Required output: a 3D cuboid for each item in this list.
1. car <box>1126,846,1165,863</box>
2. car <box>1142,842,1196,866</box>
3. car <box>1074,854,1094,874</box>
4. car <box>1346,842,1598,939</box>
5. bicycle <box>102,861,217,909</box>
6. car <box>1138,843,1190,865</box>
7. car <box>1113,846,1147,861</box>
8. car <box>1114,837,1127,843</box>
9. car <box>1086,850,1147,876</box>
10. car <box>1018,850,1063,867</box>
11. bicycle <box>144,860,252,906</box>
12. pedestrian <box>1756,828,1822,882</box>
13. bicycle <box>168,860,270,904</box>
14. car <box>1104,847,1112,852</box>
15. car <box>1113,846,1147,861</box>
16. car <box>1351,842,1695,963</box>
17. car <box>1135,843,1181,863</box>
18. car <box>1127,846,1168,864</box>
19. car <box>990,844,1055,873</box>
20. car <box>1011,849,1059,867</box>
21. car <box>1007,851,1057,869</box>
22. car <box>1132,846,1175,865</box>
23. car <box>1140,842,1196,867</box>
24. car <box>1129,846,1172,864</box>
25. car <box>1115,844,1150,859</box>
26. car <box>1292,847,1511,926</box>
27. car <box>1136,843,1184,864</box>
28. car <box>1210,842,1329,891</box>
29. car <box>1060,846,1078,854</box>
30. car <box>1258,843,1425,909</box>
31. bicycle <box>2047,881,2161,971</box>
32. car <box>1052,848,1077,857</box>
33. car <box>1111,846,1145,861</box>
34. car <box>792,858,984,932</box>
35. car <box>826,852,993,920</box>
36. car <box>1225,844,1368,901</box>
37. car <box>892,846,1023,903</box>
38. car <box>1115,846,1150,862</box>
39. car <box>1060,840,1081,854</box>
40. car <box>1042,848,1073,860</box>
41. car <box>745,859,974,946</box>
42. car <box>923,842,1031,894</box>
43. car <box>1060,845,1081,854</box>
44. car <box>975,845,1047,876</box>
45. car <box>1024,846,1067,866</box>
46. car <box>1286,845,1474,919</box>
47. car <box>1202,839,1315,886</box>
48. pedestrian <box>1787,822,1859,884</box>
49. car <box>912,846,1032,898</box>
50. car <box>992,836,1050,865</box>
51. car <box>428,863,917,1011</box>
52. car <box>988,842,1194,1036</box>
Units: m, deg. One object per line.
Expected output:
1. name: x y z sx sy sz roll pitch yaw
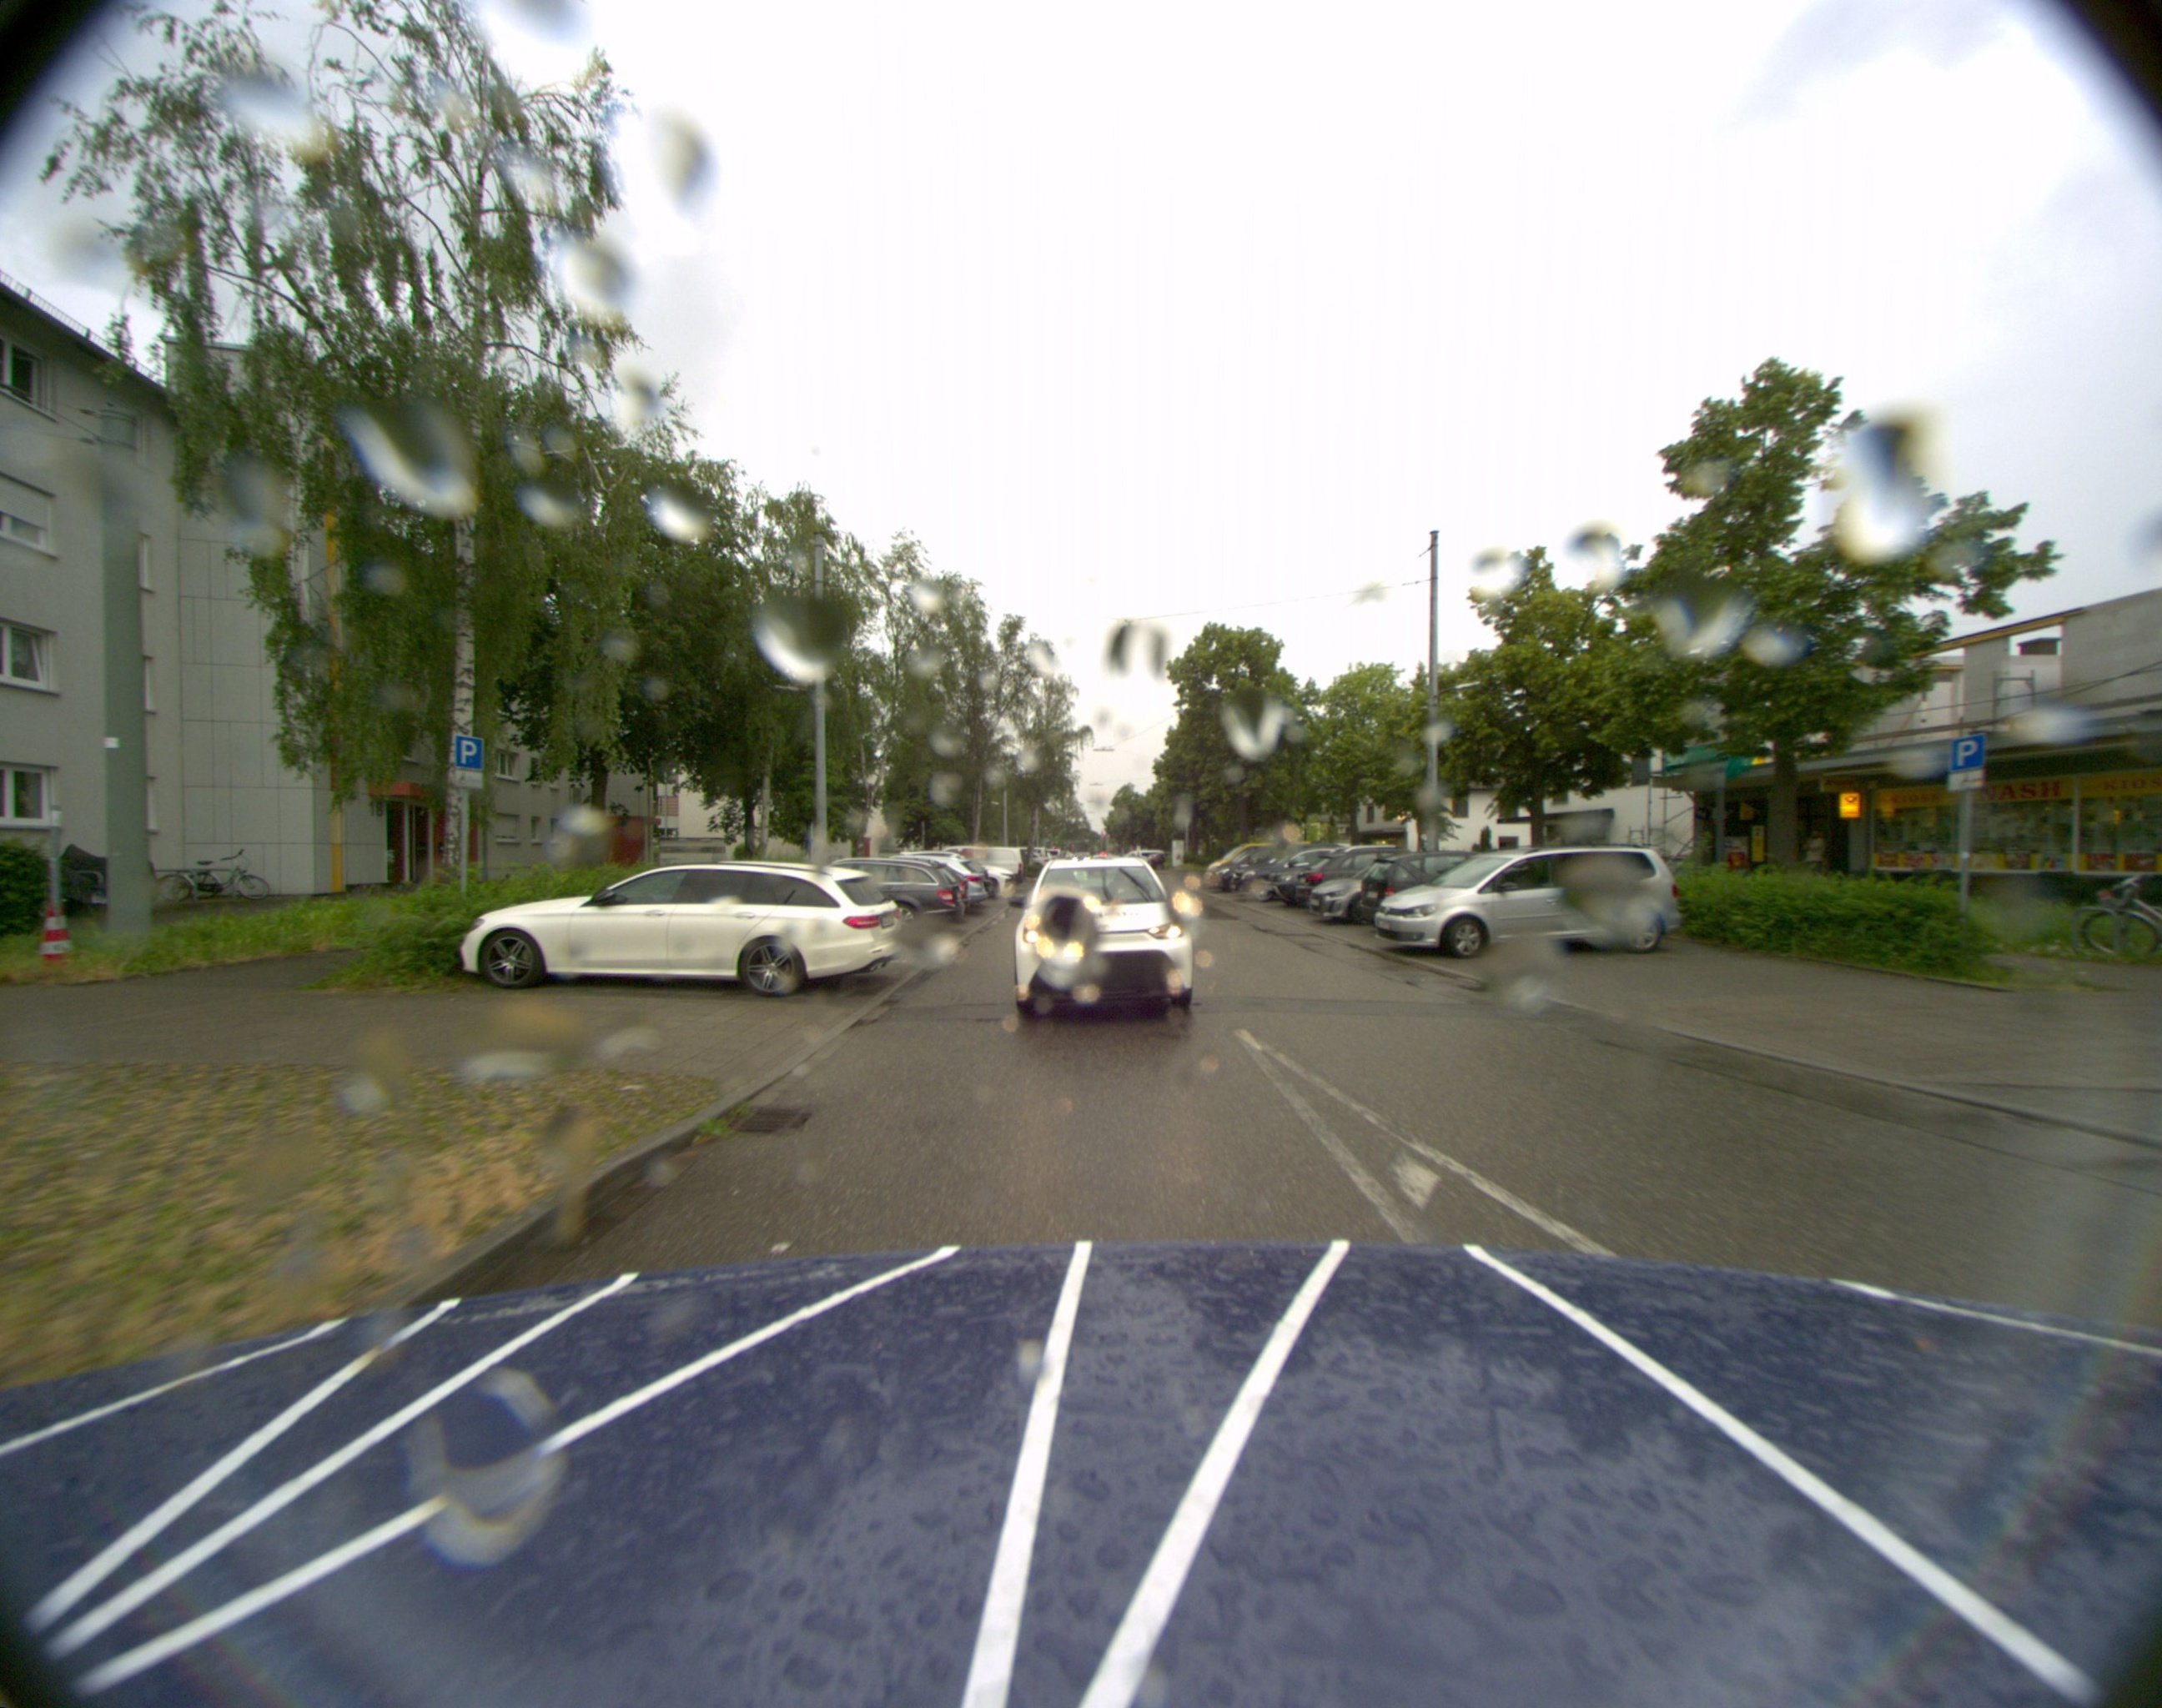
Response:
1. car: 7.709 0.088 91.028 4.546 1.932 1.898 -1 1 -1
2. car: 7.851 0.001 68.152 4.546 1.932 1.898 -1 1 -1
3. car: 0.311 1.073 82.560 1.999 2.002 3.999 -2 1 -1
4. car: 7.424 0.660 14.697 3.945 1.664 1.793 -1 1 -1
5. bicycle: -19.241 0.631 15.893 1.477 0.946 0.532 -1 1 -14
6. car: 7.658 -0.017 70.692 4.546 1.932 1.898 -1 1 -1
7. car: 6.666 -0.019 103.523 4.546 1.932 1.898 -1 1 -1
8. car: 12.268 -4.287 237.855 3.997 1.688 2.000 -2 1 0
9. car: 2.350 0.587 51.681 1.967 1.544 3.988 -3 3 -39
10. car: -4.144 0.472 78.513 4.546 1.574 1.898 -1 1 -1
11. bicycle: -19.371 0.631 16.694 1.477 0.946 0.532 -1 1 -14
12. pedestrian: 21.200 0.013 22.771 1.078 1.575 0.948 0 2 11
13. bicycle: -19.568 0.629 17.278 1.477 0.946 0.532 -1 1 -14
14. car: 7.628 -1.233 215.959 1.998 1.320 3.999 -2 1 0
15. car: 6.988 -0.090 108.519 4.546 1.932 1.898 -1 1 -1
16. car: 6.868 0.713 12.175 4.335 1.664 2.000 -1 1 -1
17. car: 7.933 -0.101 78.782 4.546 1.932 1.898 -1 1 -1
18. car: 7.699 0.119 88.071 4.546 1.932 1.898 -1 1 -1
19. car: -4.224 0.328 55.628 4.546 1.932 1.898 -1 1 -1
20. car: -4.483 0.388 74.358 4.546 1.574 1.898 -1 1 -1
21. car: -4.523 0.576 71.161 4.546 1.574 1.898 -1 1 -1
22. car: 7.883 0.158 82.834 4.546 1.932 1.898 -1 1 -1
23. car: 7.468 0.040 65.222 4.546 1.932 1.898 -1 1 -1
24. car: 7.770 0.135 85.443 4.546 1.932 1.898 -1 1 -1
25. car: 6.933 -0.342 103.242 4.546 1.932 1.898 -1 1 -1
26. car: 7.129 0.688 17.227 4.088 1.562 2.000 -1 1 -1
27. car: 7.802 -0.066 75.547 4.546 1.932 1.898 -1 1 -1
28. car: 7.541 0.490 30.736 4.303 1.799 1.898 -1 1 -1
29. car: -2.953 -1.027 188.258 4.546 2.013 1.898 -1 1 -1
30. car: 7.368 0.589 21.762 4.088 1.699 1.898 -1 1 -1
31. bicycle: 13.460 0.901 9.399 0.594 1.066 1.748 0 1 -17
32. car: -3.063 -0.331 141.832 4.546 1.631 1.898 -1 1 -1
33. car: 6.586 -0.043 105.801 4.546 1.932 1.898 -1 1 -1
34. car: -4.436 0.930 17.851 3.996 1.477 1.723 -2 1 1
35. car: -4.507 0.820 20.365 3.996 1.577 1.723 -2 1 1
36. car: 6.966 0.570 24.808 4.088 1.699 1.898 -1 1 -1
37. car: -4.472 0.724 27.939 4.442 1.835 1.723 -2 1 1
38. car: 6.803 0.005 100.884 4.546 1.932 1.898 -1 1 -1
39. car: -2.430 -1.510 171.230 4.546 2.928 1.898 -1 1 -1
40. car: -3.474 0.014 112.362 4.546 1.631 1.898 -1 1 -1
41. car: -4.319 0.920 15.222 3.996 1.477 1.723 -2 1 1
42. car: -4.467 0.577 33.176 4.443 2.050 1.722 -2 1 -3
43. car: -2.313 -1.026 168.746 4.546 2.013 1.898 -1 1 -1
44. car: -4.588 0.408 50.271 4.546 1.932 1.898 -1 1 -1
45. car: -3.819 0.194 81.802 4.546 2.013 1.898 -1 1 -1
46. car: 7.618 0.687 19.634 4.088 1.699 1.898 -1 1 -1
47. car: 7.848 0.374 33.814 4.546 1.932 1.898 -1 1 -1
48. pedestrian: 20.979 -0.038 21.520 1.078 1.704 0.948 0 2 11
49. car: -4.289 0.690 30.374 4.442 1.835 1.723 -2 1 1
50. car: -4.727 -0.270 59.958 4.443 2.050 1.722 -2 1 -3
51. car: -4.646 0.906 9.213 4.838 1.449 2.000 1 0 1
52. car: 0.265 0.763 8.268 1.718 1.613 3.717 -1 -1 6
